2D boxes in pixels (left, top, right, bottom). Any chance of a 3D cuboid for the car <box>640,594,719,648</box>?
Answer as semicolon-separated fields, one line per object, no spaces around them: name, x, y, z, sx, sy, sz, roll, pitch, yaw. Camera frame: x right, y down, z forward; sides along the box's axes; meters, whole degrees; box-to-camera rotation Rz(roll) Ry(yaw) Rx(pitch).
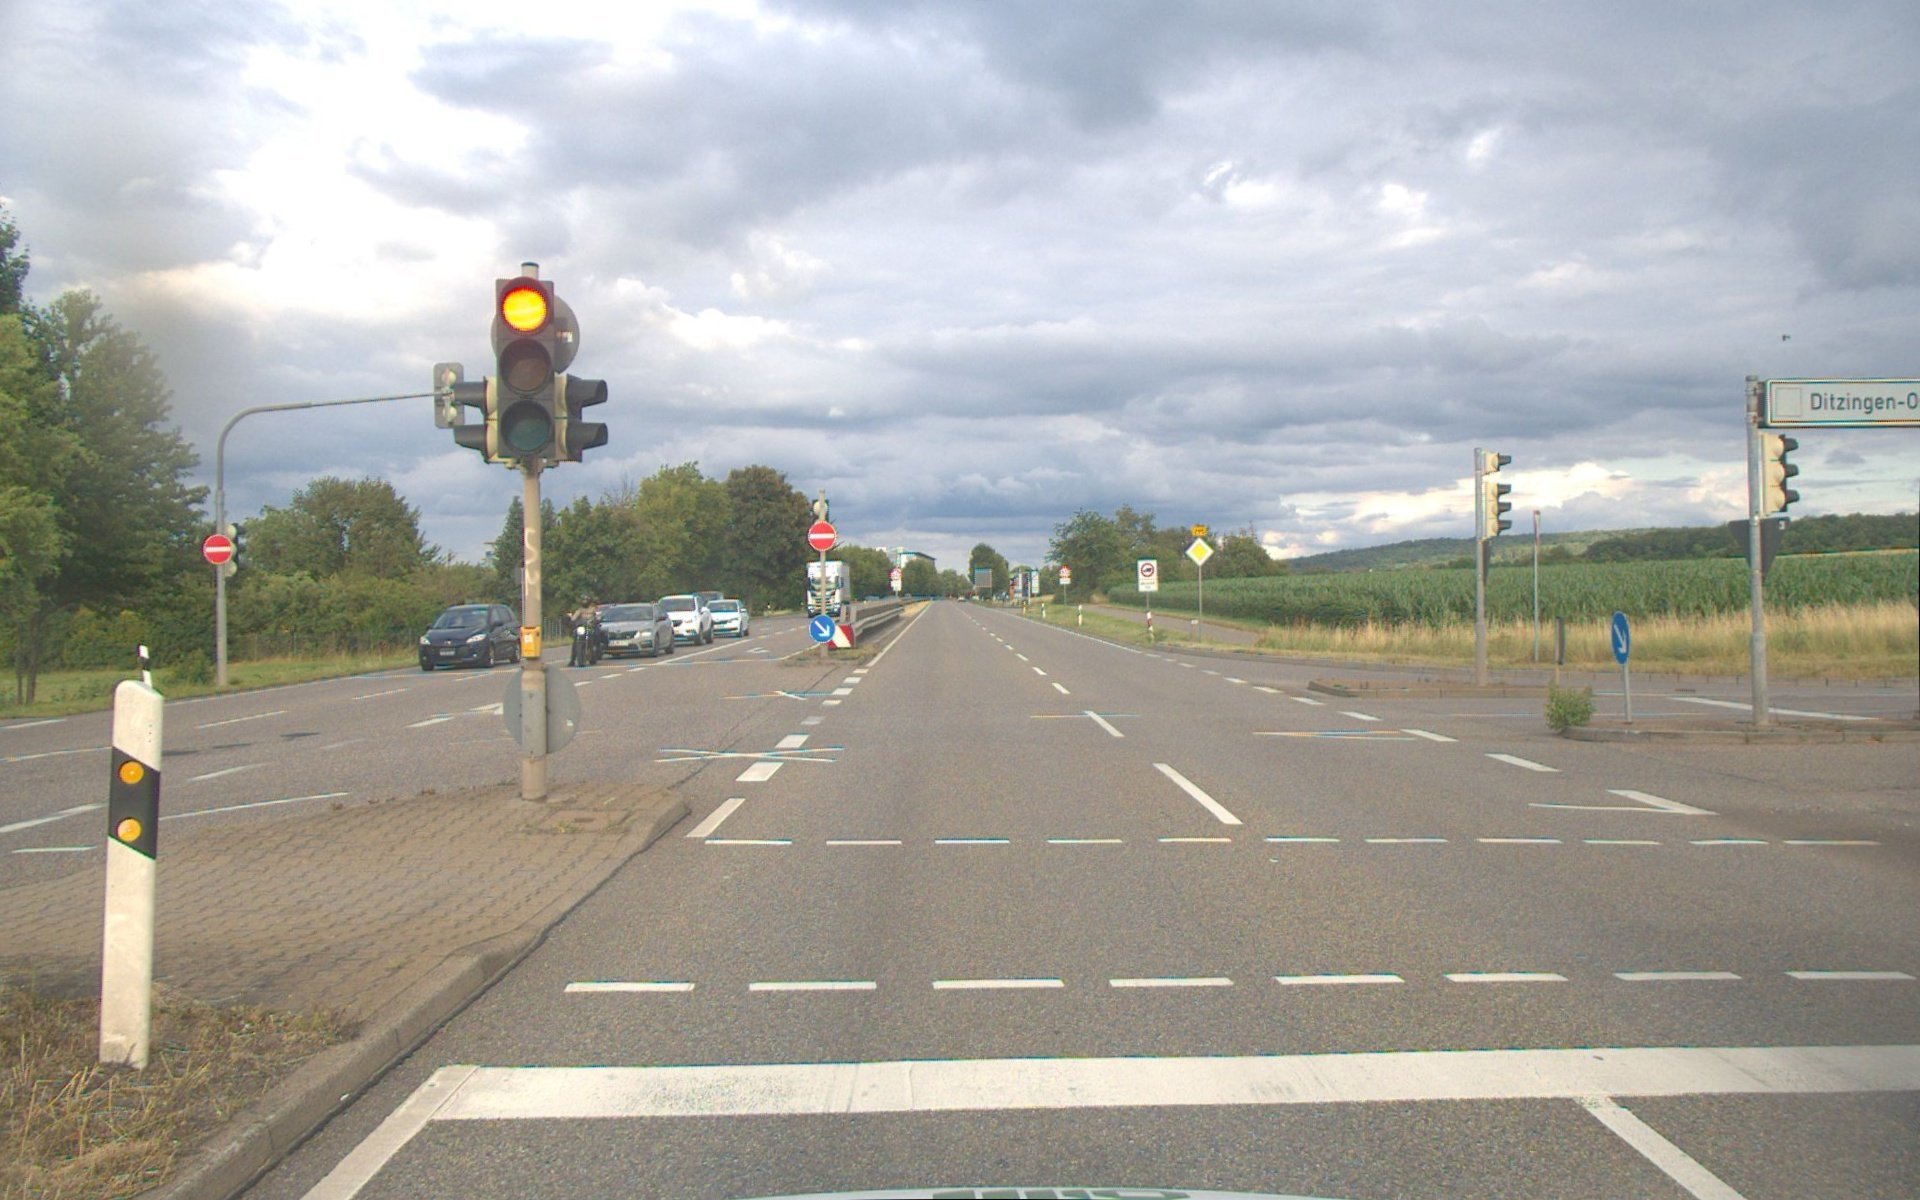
car;-9.225;0.660;54.666;1.869;1.638;4.404;-2;0;-1

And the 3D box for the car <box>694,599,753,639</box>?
car;-9.280;0.720;65.123;1.752;1.469;4.159;-2;0;-1

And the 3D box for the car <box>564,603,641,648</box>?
car;-12.739;0.880;59.227;1.869;1.490;4.183;-2;0;-1

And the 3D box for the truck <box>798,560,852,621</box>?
truck;-9.882;-0.691;121.647;3.404;4.223;6.048;-3;0;-1

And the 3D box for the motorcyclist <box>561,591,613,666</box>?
motorcyclist;-8.966;0.686;39.795;0.897;1.738;1.276;-2;0;-1

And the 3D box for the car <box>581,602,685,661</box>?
car;-8.913;0.815;45.472;1.869;1.453;5.151;-2;0;-1

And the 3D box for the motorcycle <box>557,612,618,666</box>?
motorcycle;-8.968;0.926;39.917;0.897;1.224;2.478;-2;0;0

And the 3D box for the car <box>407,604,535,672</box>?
car;-12.516;0.922;42.668;1.869;1.562;4.938;-2;0;-1
